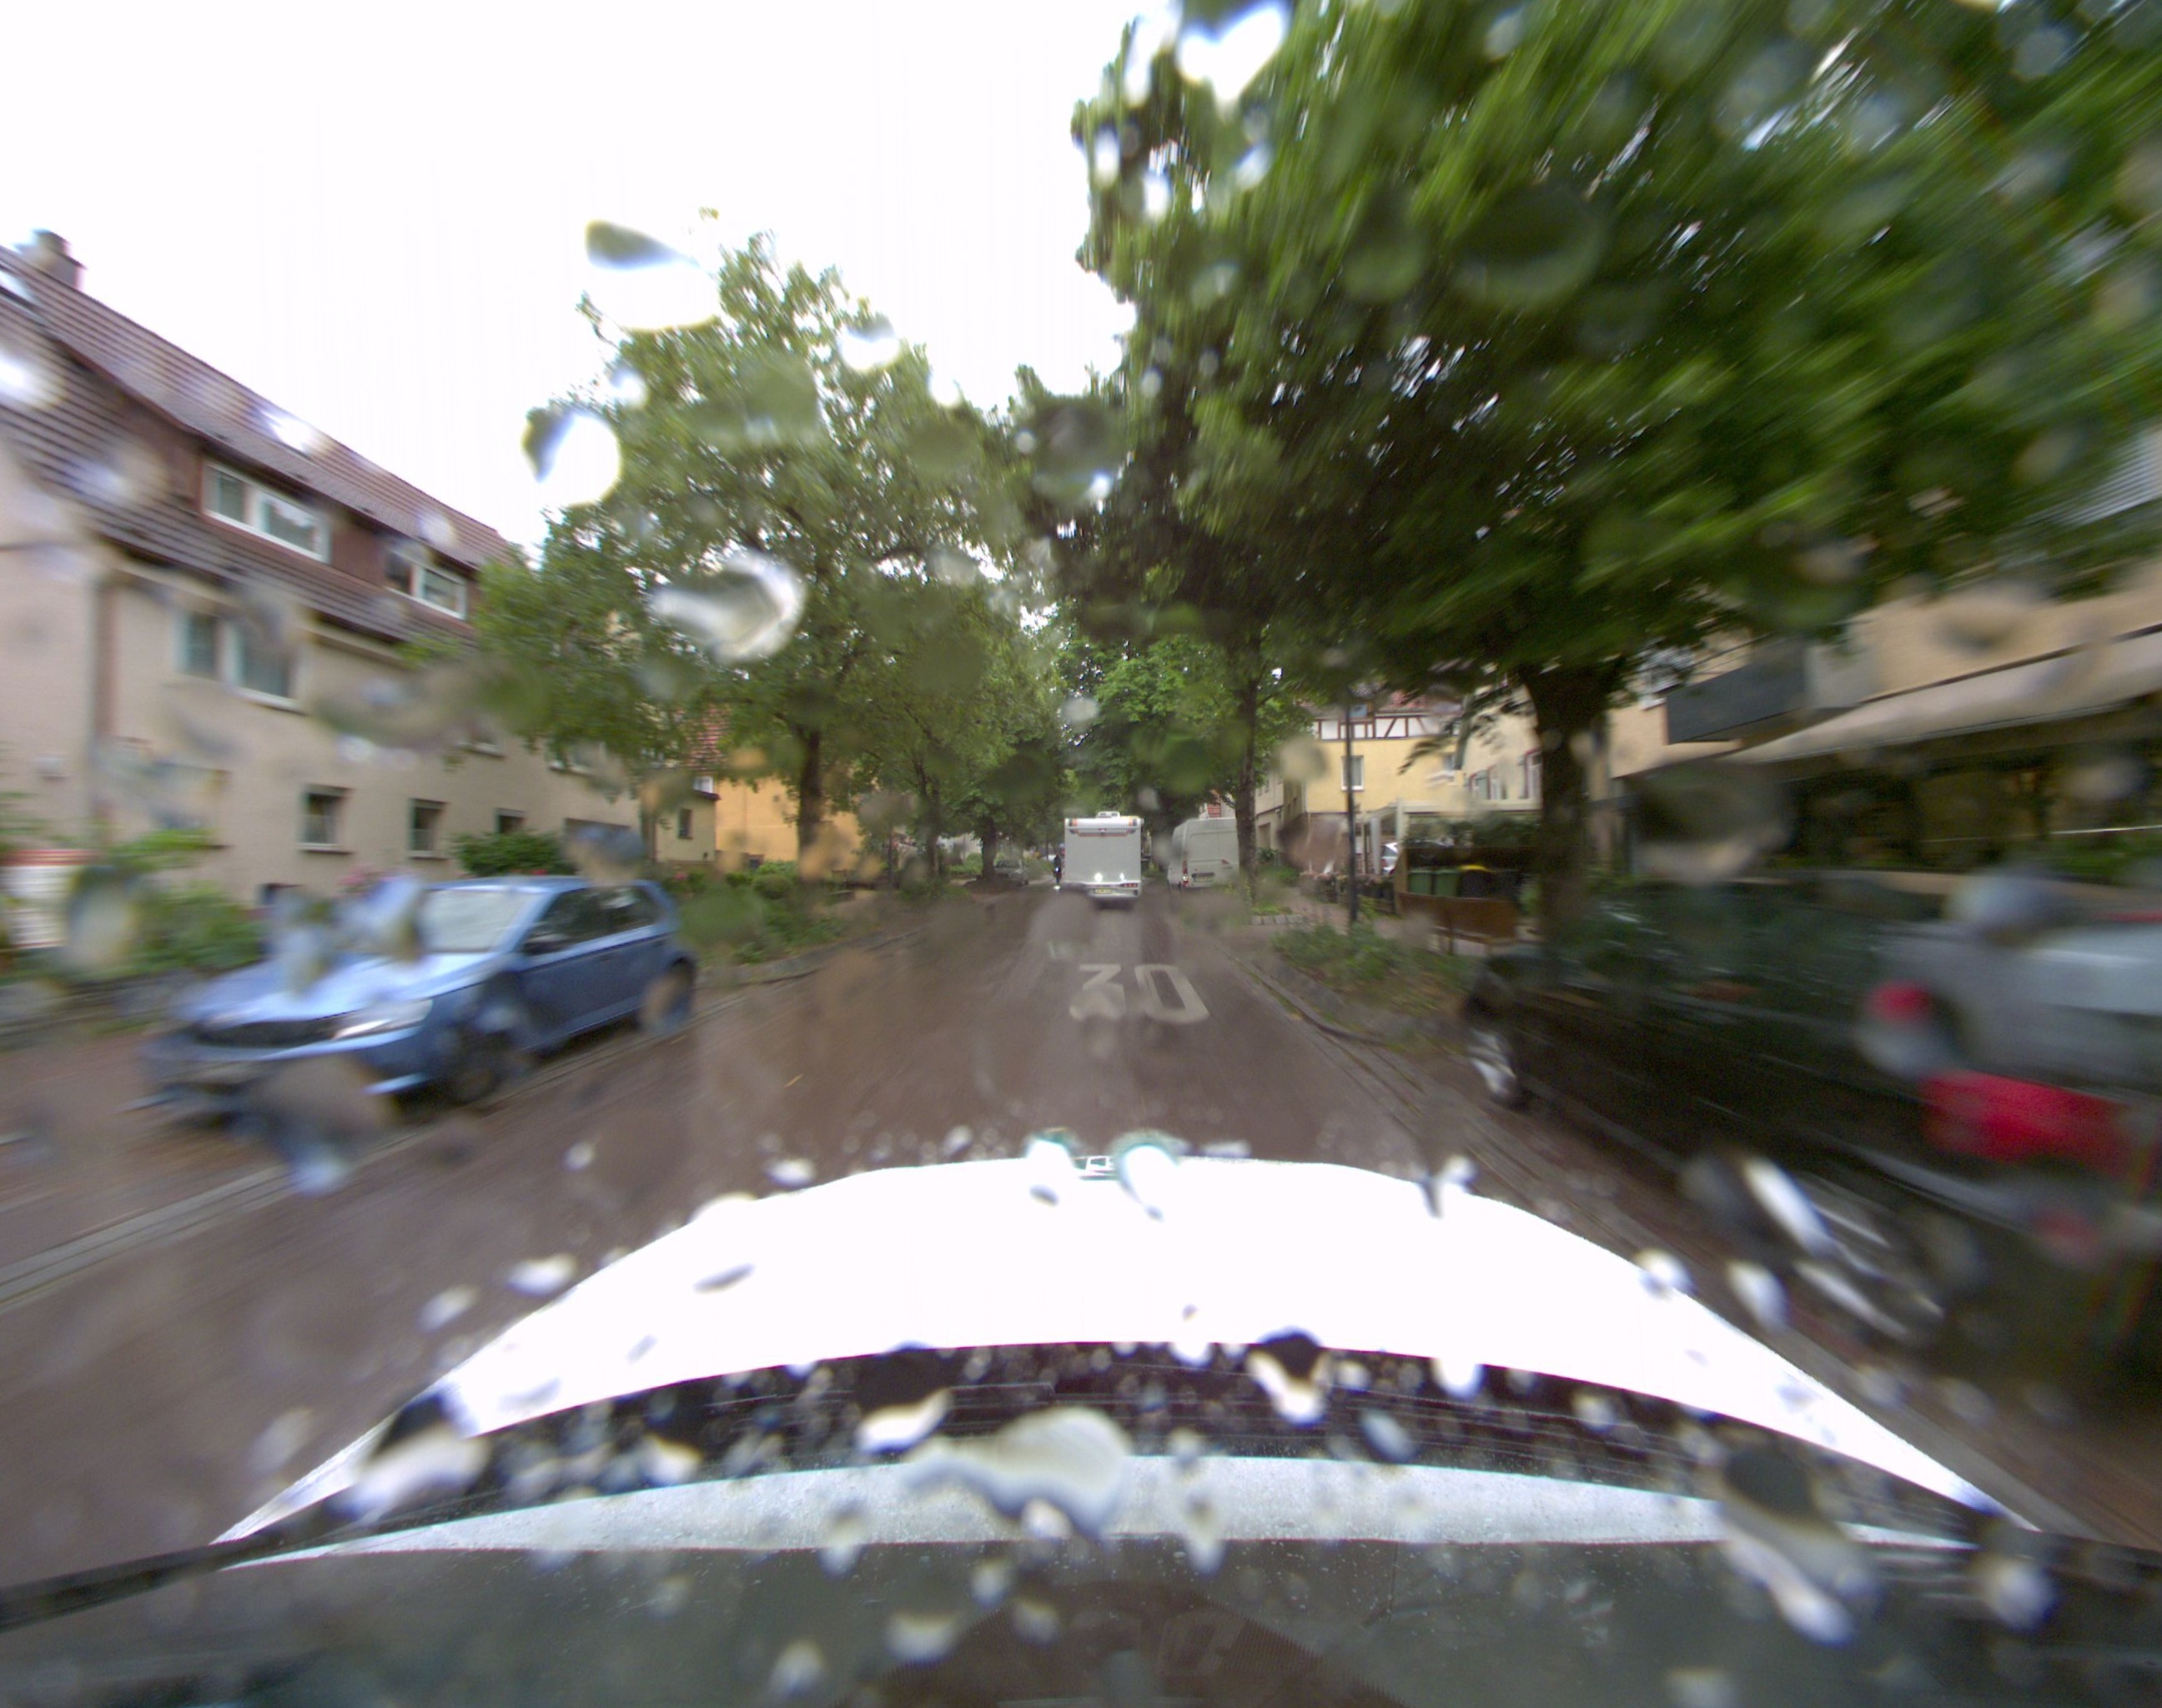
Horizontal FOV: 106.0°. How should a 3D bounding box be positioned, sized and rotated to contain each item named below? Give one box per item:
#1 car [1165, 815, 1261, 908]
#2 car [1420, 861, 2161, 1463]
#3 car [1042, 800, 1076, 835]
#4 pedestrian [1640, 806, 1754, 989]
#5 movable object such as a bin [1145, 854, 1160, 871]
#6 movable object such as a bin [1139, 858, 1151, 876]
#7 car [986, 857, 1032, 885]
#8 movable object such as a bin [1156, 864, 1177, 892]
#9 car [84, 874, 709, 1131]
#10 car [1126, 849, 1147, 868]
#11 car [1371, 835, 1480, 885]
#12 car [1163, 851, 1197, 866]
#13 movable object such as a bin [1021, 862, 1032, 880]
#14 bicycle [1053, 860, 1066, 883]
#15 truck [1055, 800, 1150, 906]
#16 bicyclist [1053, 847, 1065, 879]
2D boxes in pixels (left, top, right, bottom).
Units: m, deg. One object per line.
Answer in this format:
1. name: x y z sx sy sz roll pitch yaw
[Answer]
1. car: 3.787 0.204 24.308 2.133 2.460 5.437 0 0 2
2. car: 3.257 0.766 3.868 1.802 1.411 3.784 0 0 1
3. car: -1.405 -2.333 53.085 1.986 2.014 4.002 0 0 2
4. pedestrian: 6.085 0.414 8.078 0.760 1.731 0.495 -1 0 18
5. movable object such as a bin: 5.920 0.716 67.683 1.219 1.315 1.135 -2 0 4
6. movable object such as a bin: 3.991 0.813 51.071 0.686 1.082 0.540 0 -1 -3
7. car: -3.789 0.868 43.493 1.765 1.389 4.549 1 0 3
8. movable object such as a bin: 3.424 0.954 32.648 0.794 1.075 0.879 0 0 1
9. car: -4.824 0.905 6.597 1.742 1.396 3.798 -1 0 2
10. car: 5.541 0.420 81.083 1.907 1.792 4.490 -1 0 2
11. car: 12.429 0.244 29.526 3.266 1.596 1.665 -3 -1 8
12. car: 10.576 0.445 86.907 3.356 1.430 1.630 -2 0 -2
13. movable object such as a bin: -3.433 1.053 51.024 0.592 1.062 0.546 2 0 5
14. bicycle: -1.184 0.949 45.121 0.625 1.209 1.982 0 0 2
15. truck: 0.724 -0.010 26.331 2.684 2.986 6.239 0 0 2
16. bicyclist: -1.198 0.505 44.976 0.625 1.731 0.880 0 -1 1
